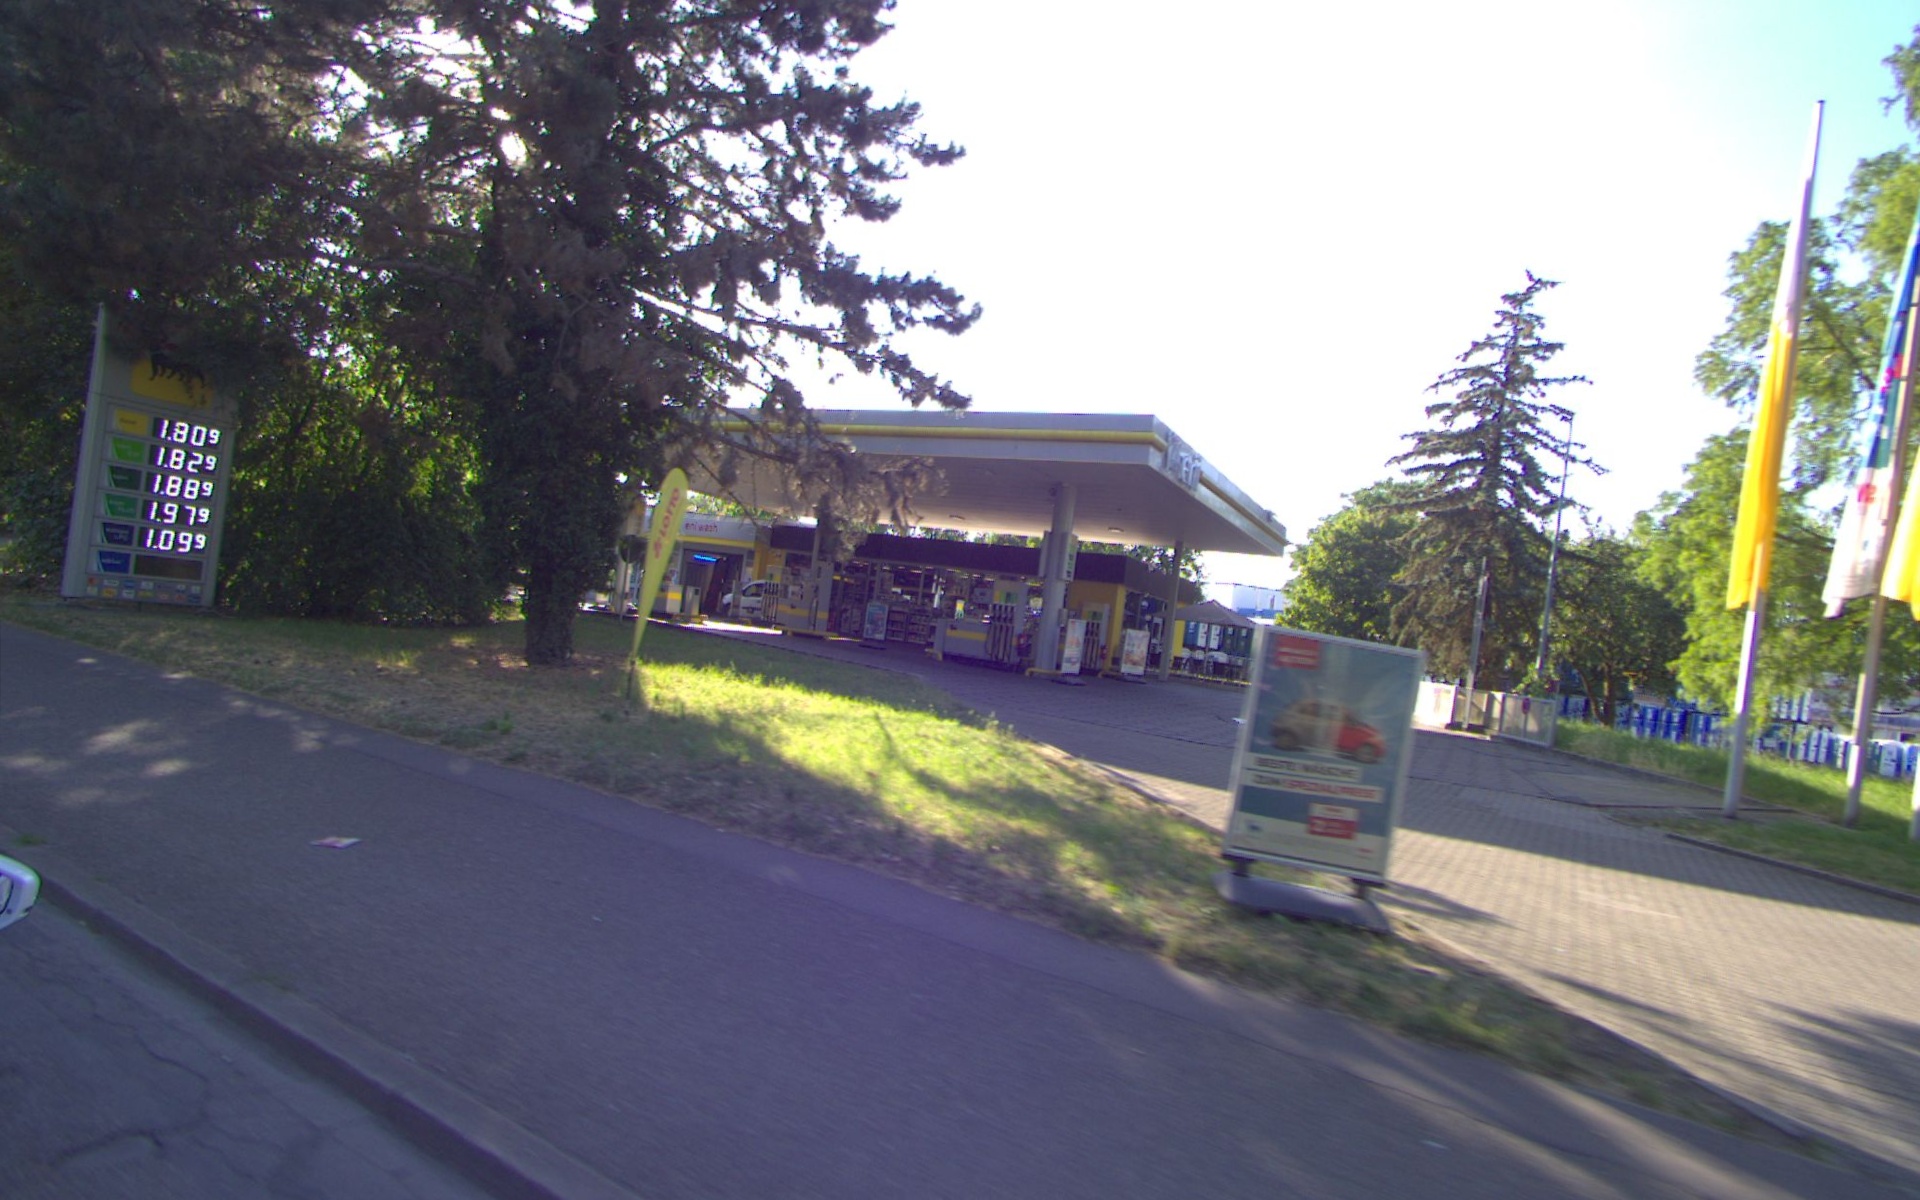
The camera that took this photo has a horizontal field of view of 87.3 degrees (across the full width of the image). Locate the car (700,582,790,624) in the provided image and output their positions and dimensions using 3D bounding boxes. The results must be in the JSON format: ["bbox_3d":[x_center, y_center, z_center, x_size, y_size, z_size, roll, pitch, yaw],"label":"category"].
[{"bbox_3d":[-9.955,0.166,46.845,1.854,1.389,3.996,8,0,28],"label":"car"}]

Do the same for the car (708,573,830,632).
[{"bbox_3d":[-7.391,0.090,38.866,4.323,1.749,1.816,6,-1,29],"label":"car"}]
